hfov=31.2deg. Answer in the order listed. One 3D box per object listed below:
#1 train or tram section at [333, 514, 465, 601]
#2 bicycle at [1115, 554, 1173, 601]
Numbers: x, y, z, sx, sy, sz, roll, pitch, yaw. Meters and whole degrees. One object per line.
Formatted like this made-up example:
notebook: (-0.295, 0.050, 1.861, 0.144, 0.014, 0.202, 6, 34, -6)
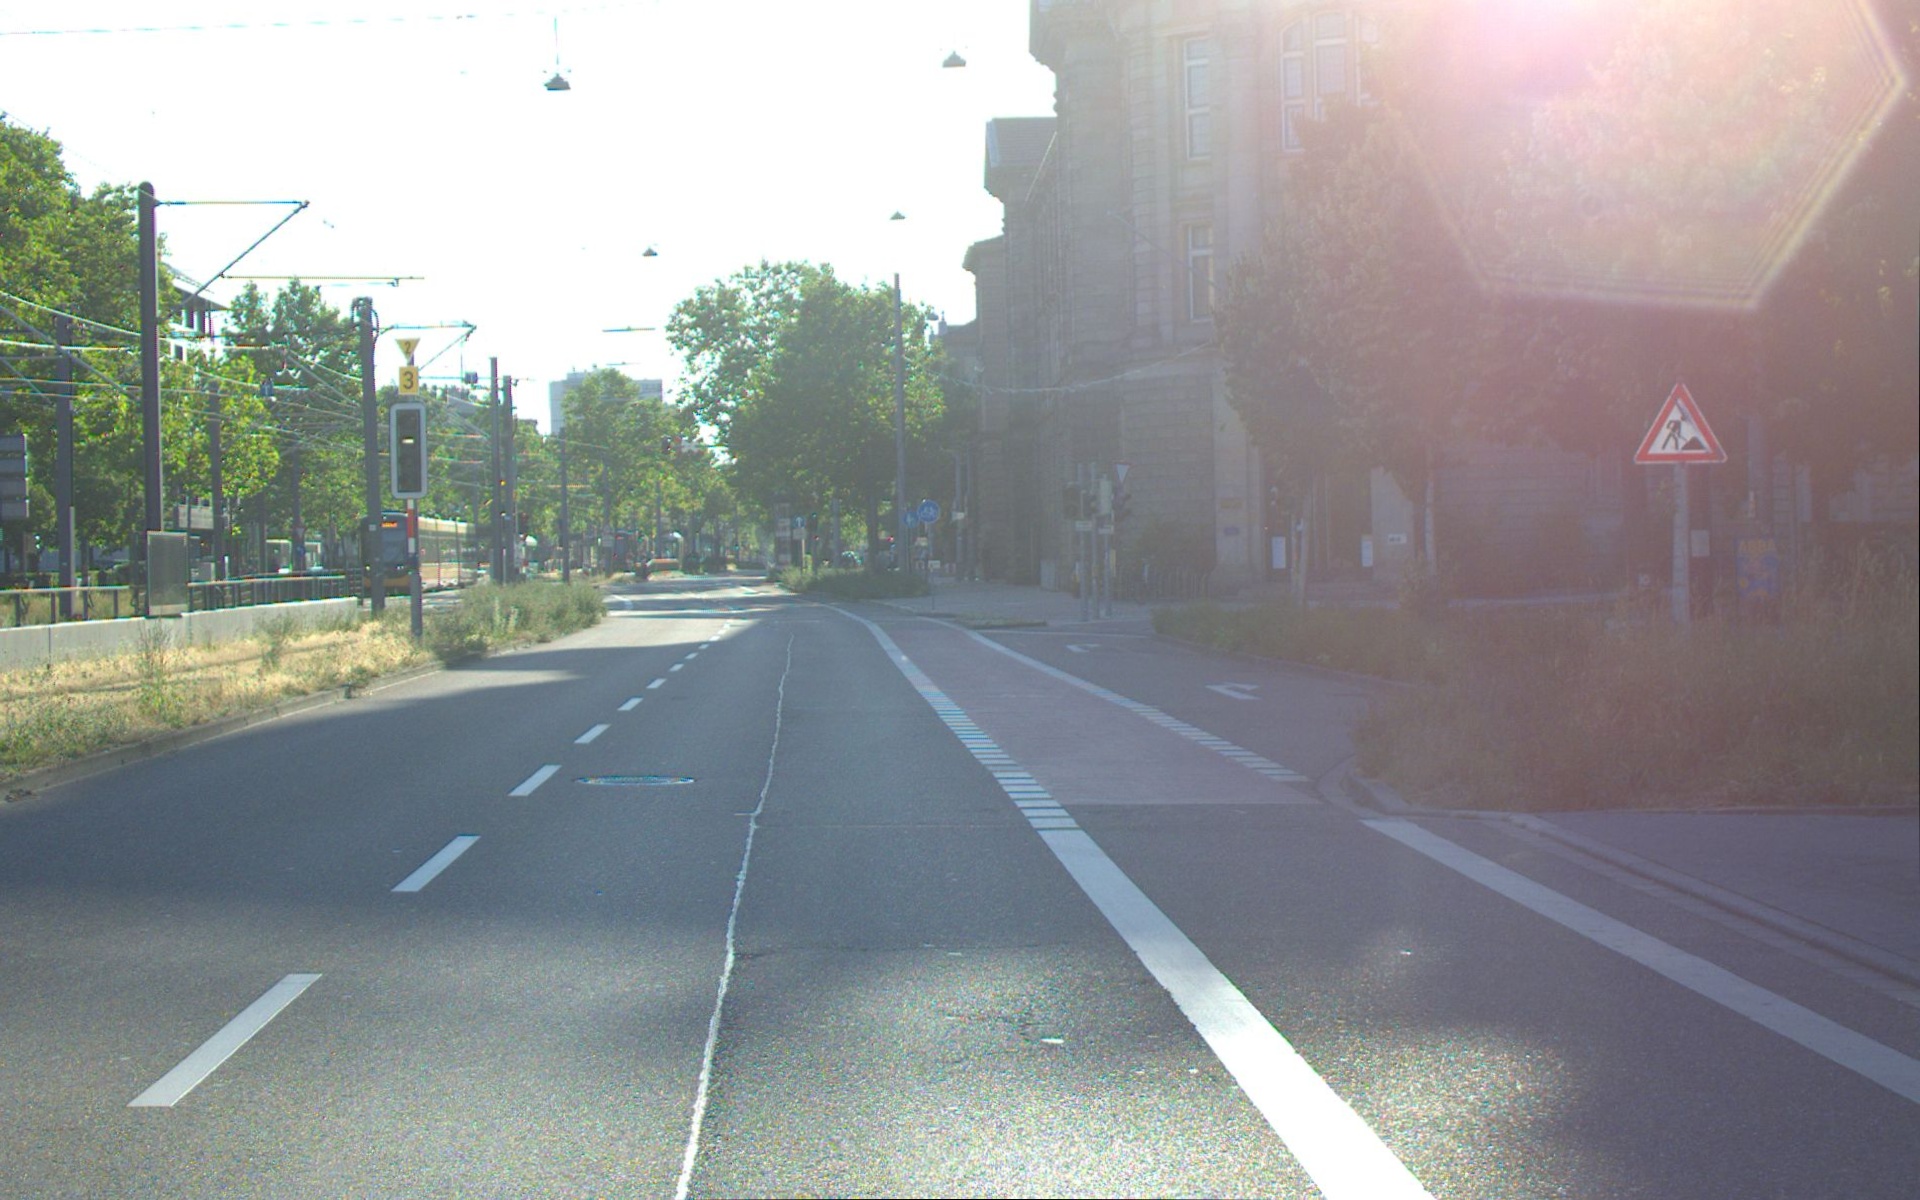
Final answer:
train or tram section: (-24.473, -1.862, 150.958, 3.112, 3.547, 17.479, -1, 1, -1)
bicycle: (4.884, -0.600, 91.211, 0.867, 1.192, 2.237, -1, 1, 21)
